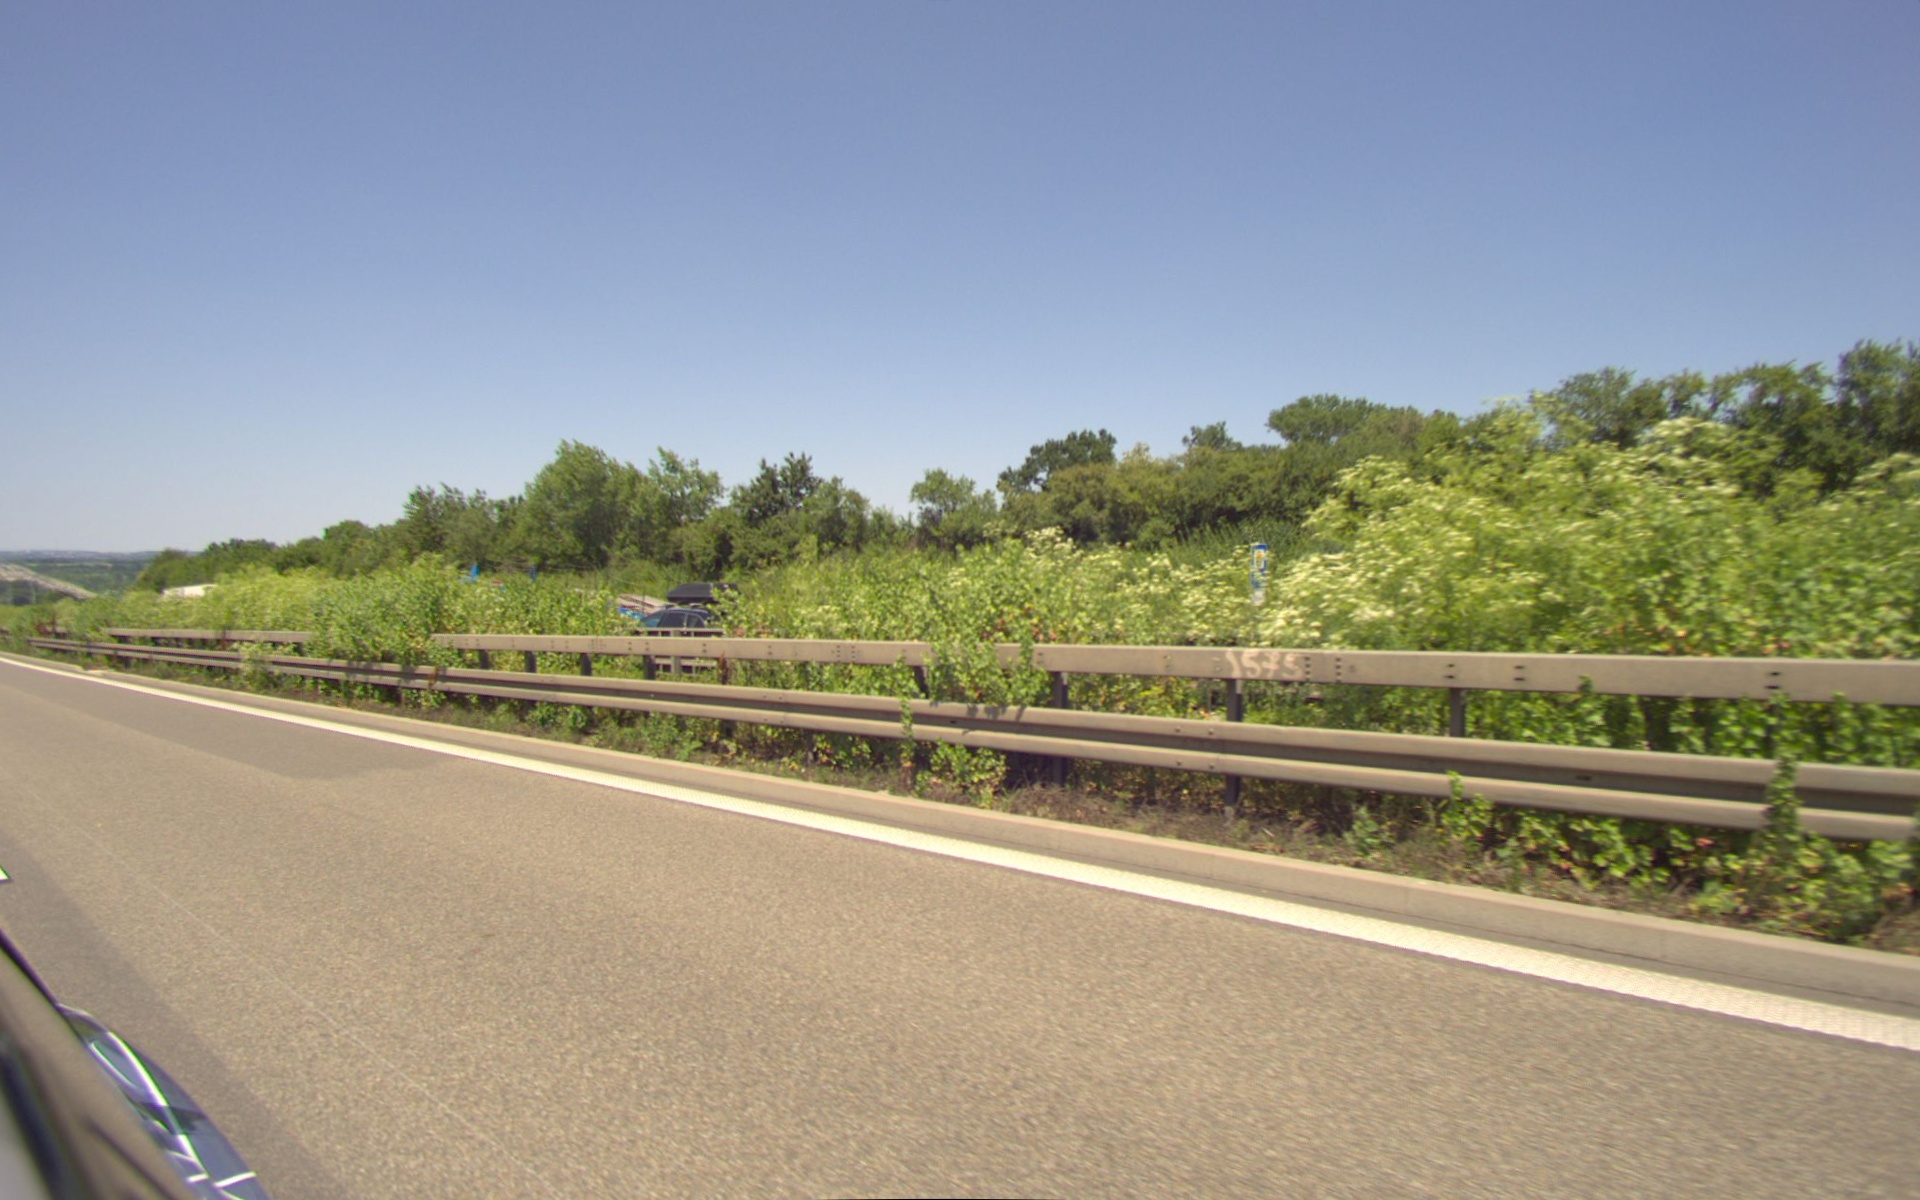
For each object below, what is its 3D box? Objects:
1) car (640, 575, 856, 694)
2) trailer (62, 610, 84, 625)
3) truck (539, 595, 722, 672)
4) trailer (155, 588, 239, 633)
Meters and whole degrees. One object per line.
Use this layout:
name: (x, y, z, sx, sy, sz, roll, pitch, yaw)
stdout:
car: (-3.822, 0.601, 17.961, 3.863, 1.880, 1.797, -1, -3, 41)
trailer: (-165.152, 3.345, 188.395, 2.537, 2.730, 11.415, 0, -1, -44)
truck: (-11.977, 1.198, 36.338, 7.838, 2.497, 2.649, -1, -3, 42)
trailer: (-63.066, 0.944, 83.414, 15.826, 3.469, 2.570, -1, -1, 42)
